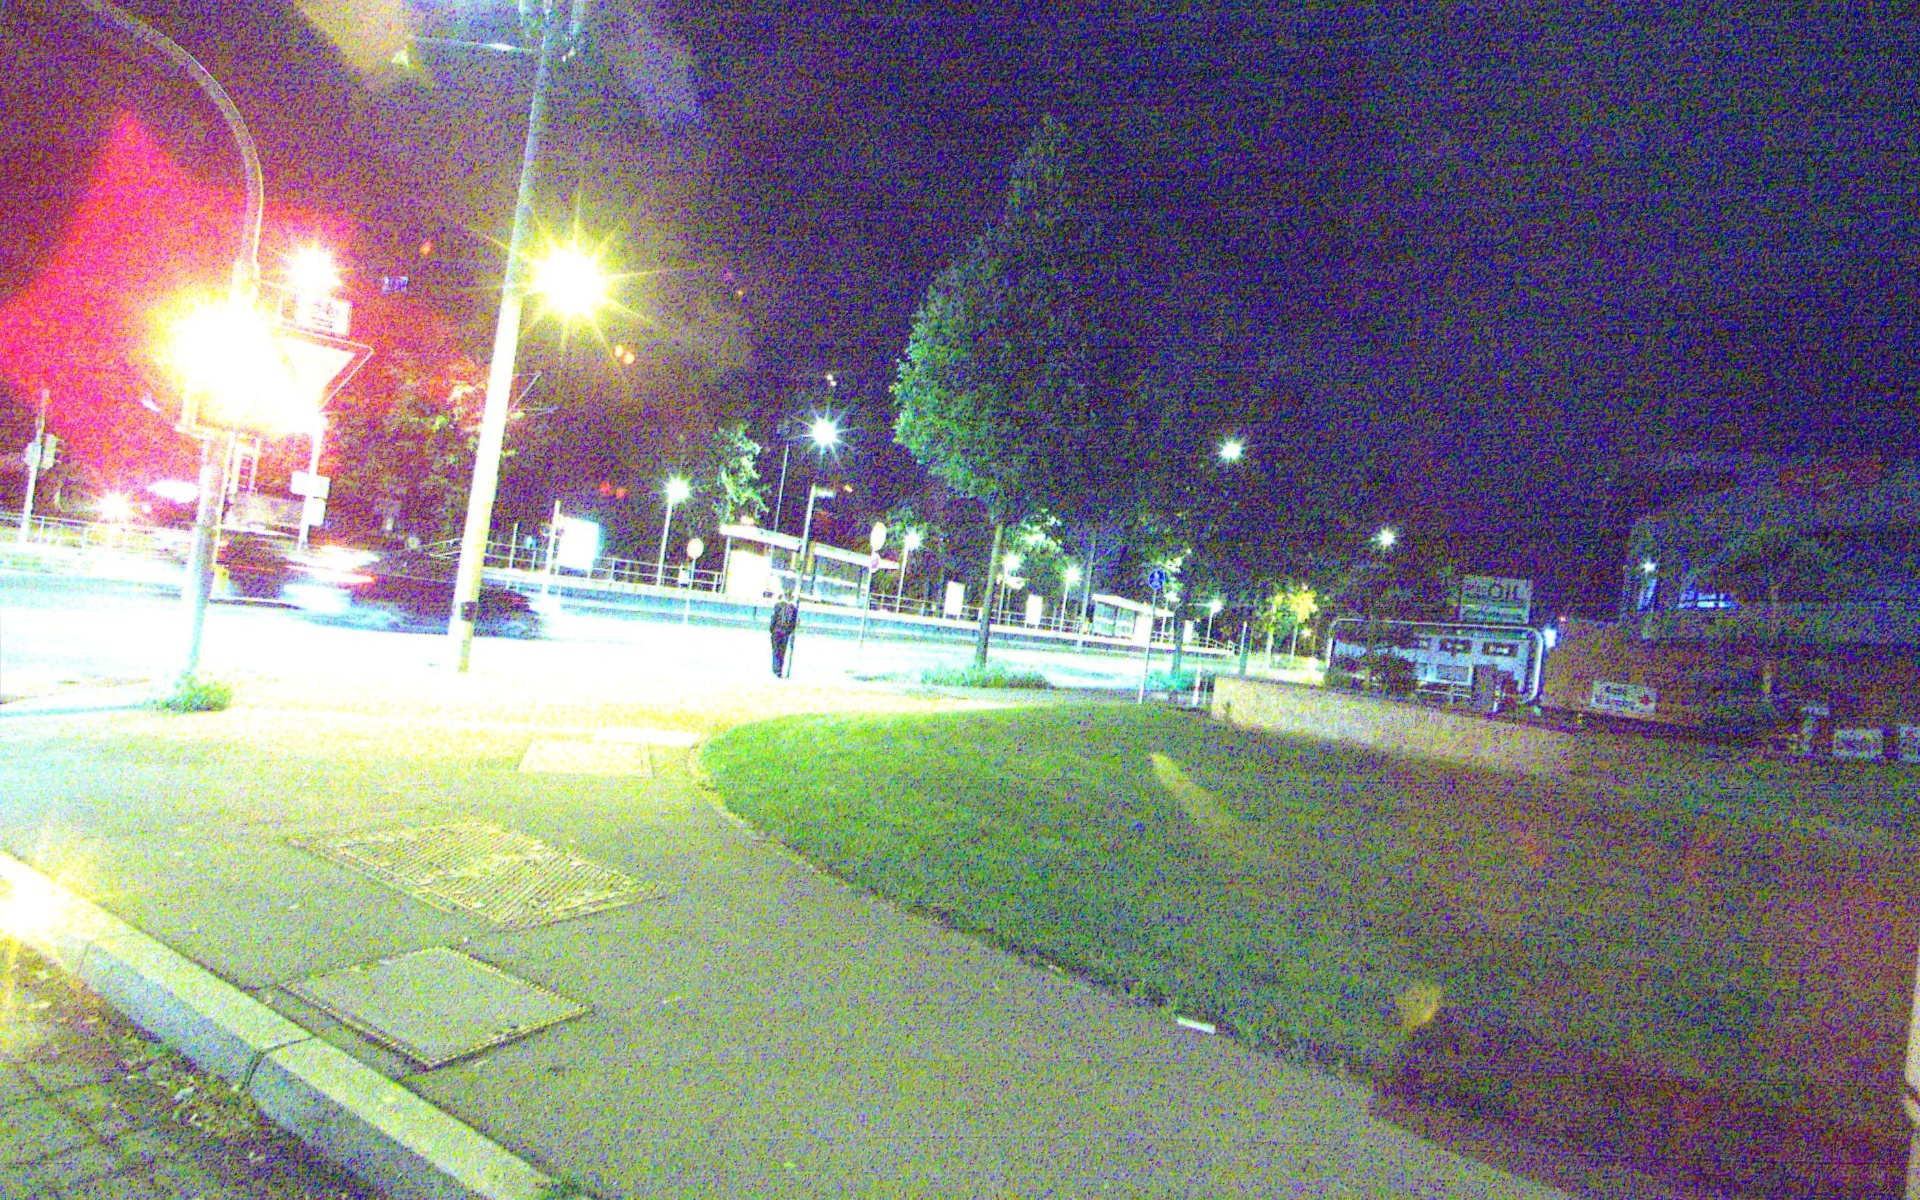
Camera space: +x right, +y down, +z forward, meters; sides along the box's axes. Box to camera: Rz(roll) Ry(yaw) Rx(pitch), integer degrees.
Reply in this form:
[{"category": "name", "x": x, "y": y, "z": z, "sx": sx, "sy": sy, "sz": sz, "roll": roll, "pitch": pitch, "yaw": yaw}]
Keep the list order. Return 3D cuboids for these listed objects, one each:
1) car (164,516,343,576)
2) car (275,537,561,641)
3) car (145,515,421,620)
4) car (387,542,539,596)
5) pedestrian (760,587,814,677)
[{"category": "car", "x": -24.994, "y": -1.869, "z": 35.786, "sx": 1.822, "sy": 1.437, "sz": 4.821, "roll": 6, "pitch": -1, "yaw": 35}, {"category": "car", "x": -10.457, "y": -0.143, "z": 19.755, "sx": 1.717, "sy": 1.438, "sz": 4.572, "roll": 10, "pitch": 2, "yaw": 35}, {"category": "car", "x": -13.567, "y": -0.605, "z": 20.382, "sx": 1.719, "sy": 1.437, "sz": 4.248, "roll": 9, "pitch": 0, "yaw": 39}, {"category": "car", "x": -19.143, "y": -1.170, "z": 38.985, "sx": 1.822, "sy": 1.437, "sz": 4.943, "roll": 6, "pitch": -1, "yaw": 35}, {"category": "pedestrian", "x": -3.374, "y": 0.618, "z": 19.549, "sx": 0.867, "sy": 1.677, "sz": 0.835, "roll": 2, "pitch": 1, "yaw": -18}]
